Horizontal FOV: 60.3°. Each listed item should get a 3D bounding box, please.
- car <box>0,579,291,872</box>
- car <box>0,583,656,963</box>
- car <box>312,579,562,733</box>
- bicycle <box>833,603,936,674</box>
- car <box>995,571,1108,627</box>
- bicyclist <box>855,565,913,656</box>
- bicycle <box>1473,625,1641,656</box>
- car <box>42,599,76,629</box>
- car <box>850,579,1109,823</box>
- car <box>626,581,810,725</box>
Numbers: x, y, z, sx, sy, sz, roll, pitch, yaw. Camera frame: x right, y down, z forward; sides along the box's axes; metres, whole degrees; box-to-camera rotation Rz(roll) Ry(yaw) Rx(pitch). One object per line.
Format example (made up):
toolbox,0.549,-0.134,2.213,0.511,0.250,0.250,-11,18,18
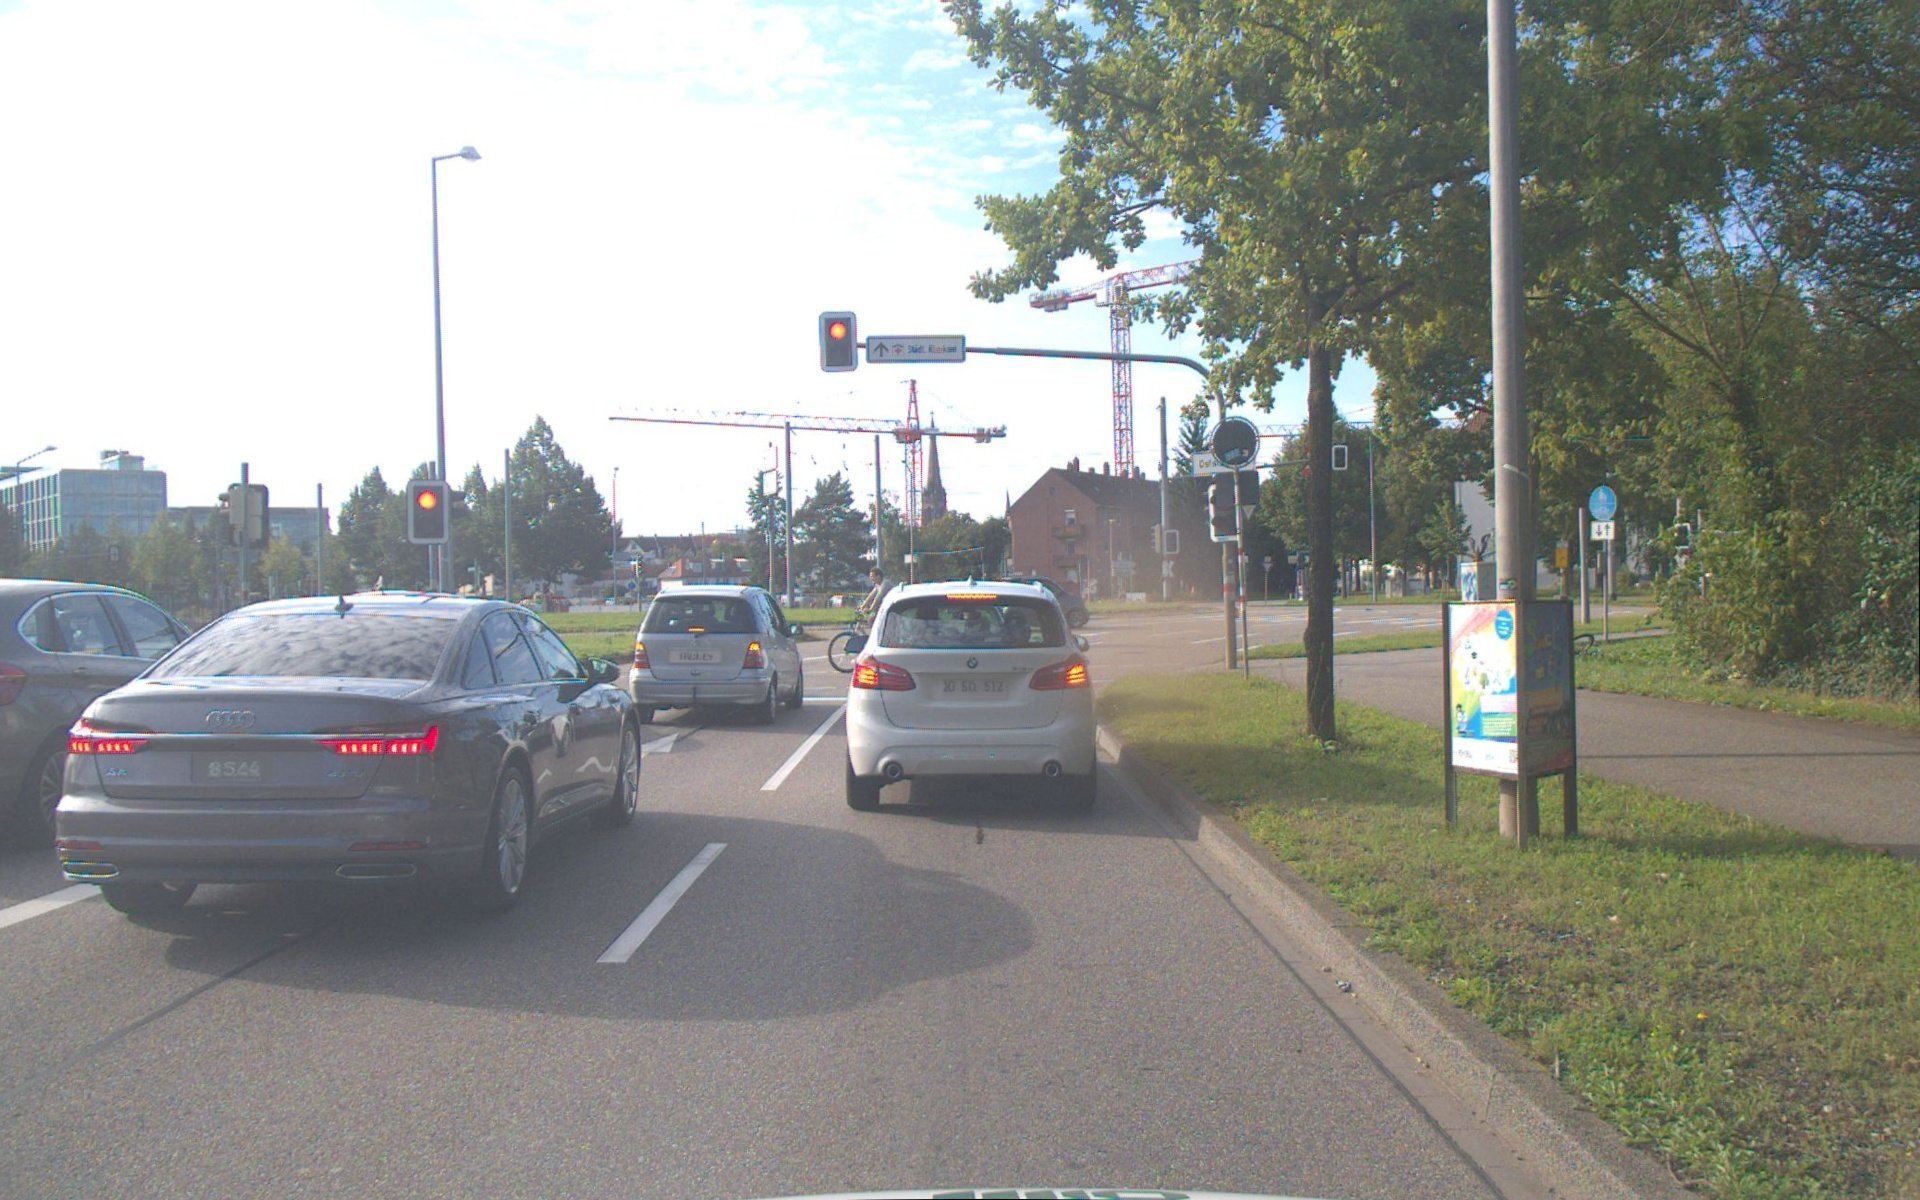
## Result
car,-6.067,0.679,10.910,1.694,1.585,4.018,0,0,-1
car,-2.958,0.693,8.925,1.851,1.509,4.612,0,0,-1
car,-5.926,0.565,19.197,1.686,1.592,3.877,0,1,0
bicycle,-1.335,0.675,29.223,1.698,1.184,0.653,-1,0,-17
car,2.698,-0.045,49.200,3.127,1.601,1.573,-1,1,-7
bicyclist,-1.342,0.184,29.229,0.835,1.553,0.737,-2,0,-17
bicycle,9.451,0.630,26.322,1.382,0.392,2.569,-2,0,-12
car,-51.355,0.803,94.308,1.574,1.439,3.636,-3,-1,-28
car,0.095,0.646,12.837,1.694,1.585,4.057,0,0,-1
car,-2.857,0.576,20.284,1.694,1.585,4.057,0,0,-1
